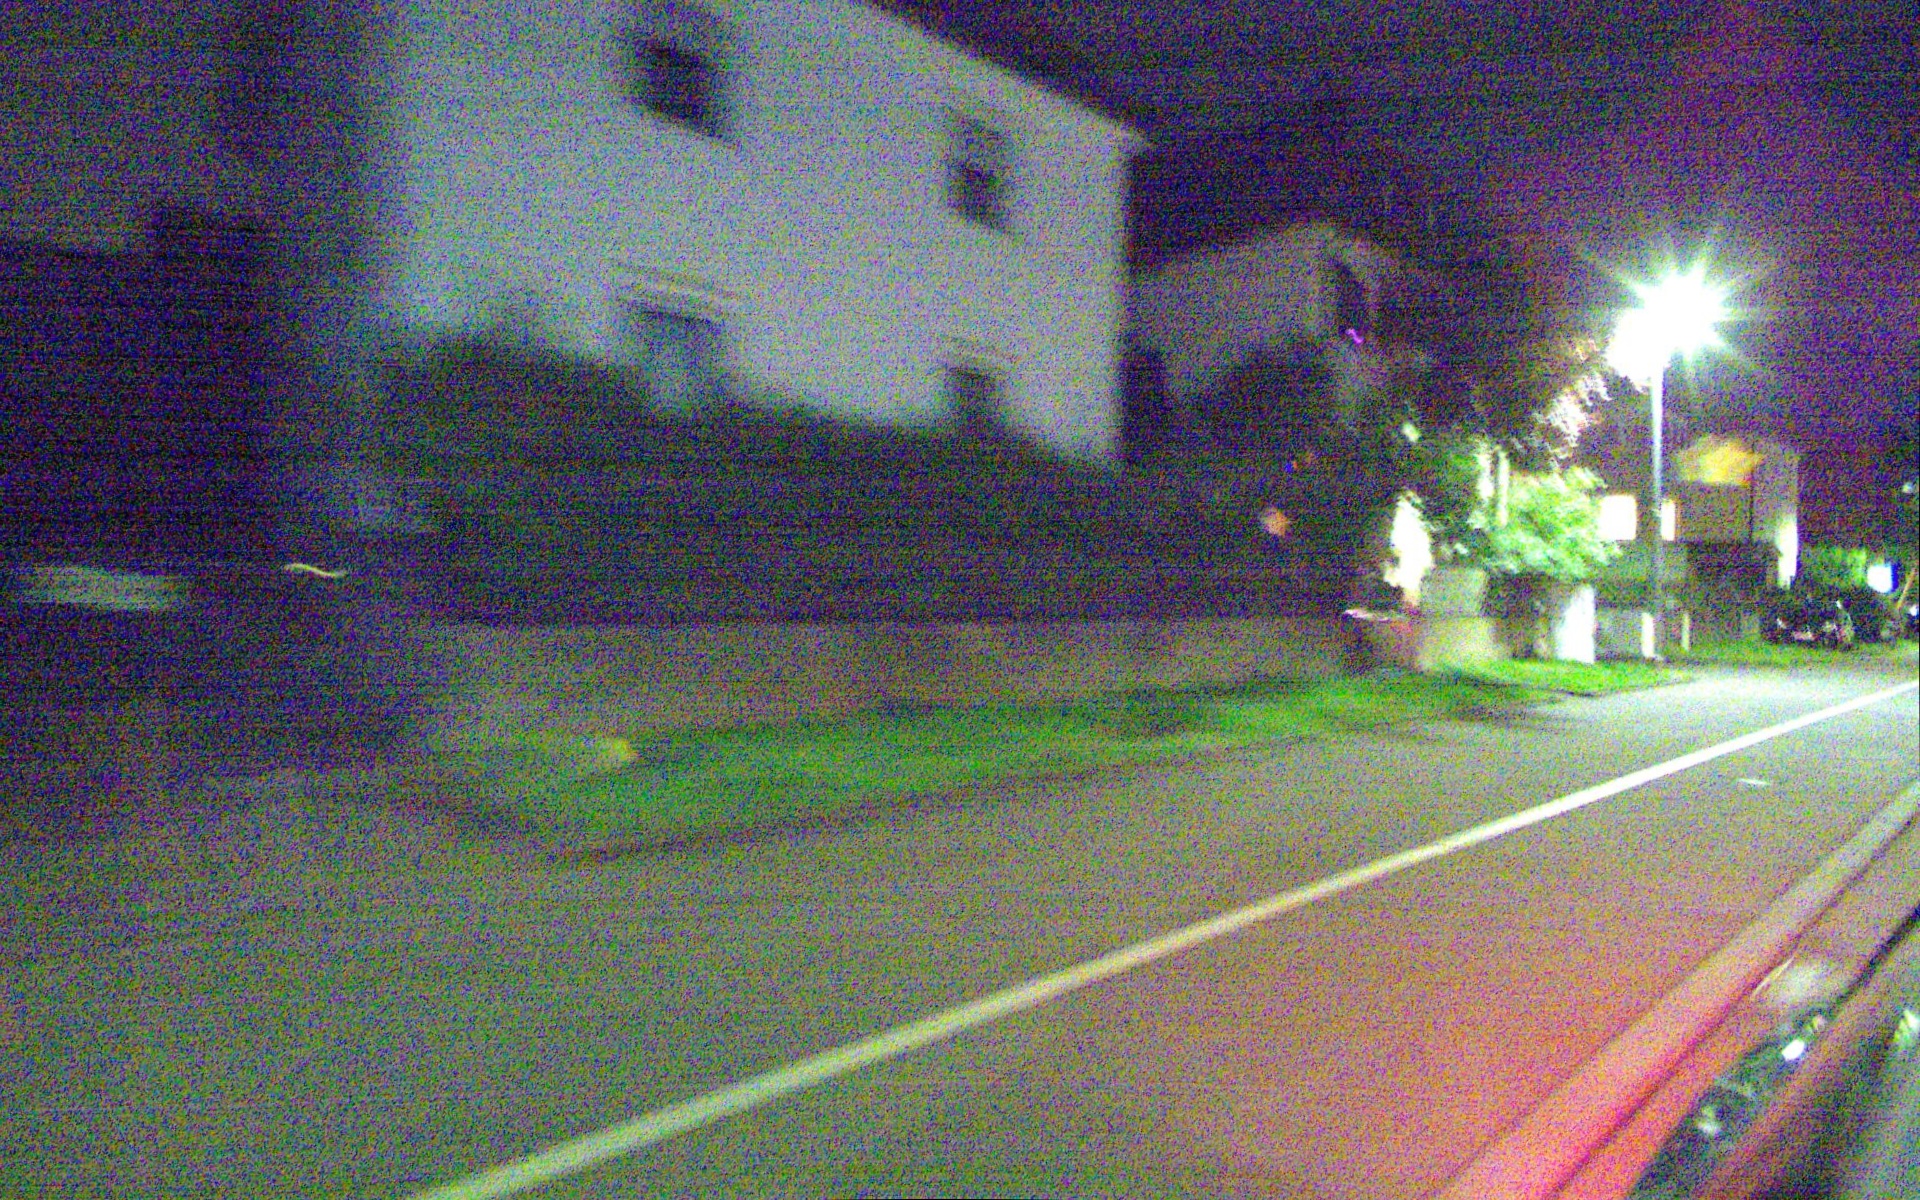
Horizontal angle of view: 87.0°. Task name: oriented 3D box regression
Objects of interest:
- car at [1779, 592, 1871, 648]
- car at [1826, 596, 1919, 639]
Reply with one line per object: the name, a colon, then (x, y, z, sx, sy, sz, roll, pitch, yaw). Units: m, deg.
car: (26.822, 0.574, 31.348, 3.614, 1.579, 1.642, 0, 2, -41)
car: (36.967, 0.705, 39.977, 1.800, 1.504, 3.914, 1, 3, -40)
